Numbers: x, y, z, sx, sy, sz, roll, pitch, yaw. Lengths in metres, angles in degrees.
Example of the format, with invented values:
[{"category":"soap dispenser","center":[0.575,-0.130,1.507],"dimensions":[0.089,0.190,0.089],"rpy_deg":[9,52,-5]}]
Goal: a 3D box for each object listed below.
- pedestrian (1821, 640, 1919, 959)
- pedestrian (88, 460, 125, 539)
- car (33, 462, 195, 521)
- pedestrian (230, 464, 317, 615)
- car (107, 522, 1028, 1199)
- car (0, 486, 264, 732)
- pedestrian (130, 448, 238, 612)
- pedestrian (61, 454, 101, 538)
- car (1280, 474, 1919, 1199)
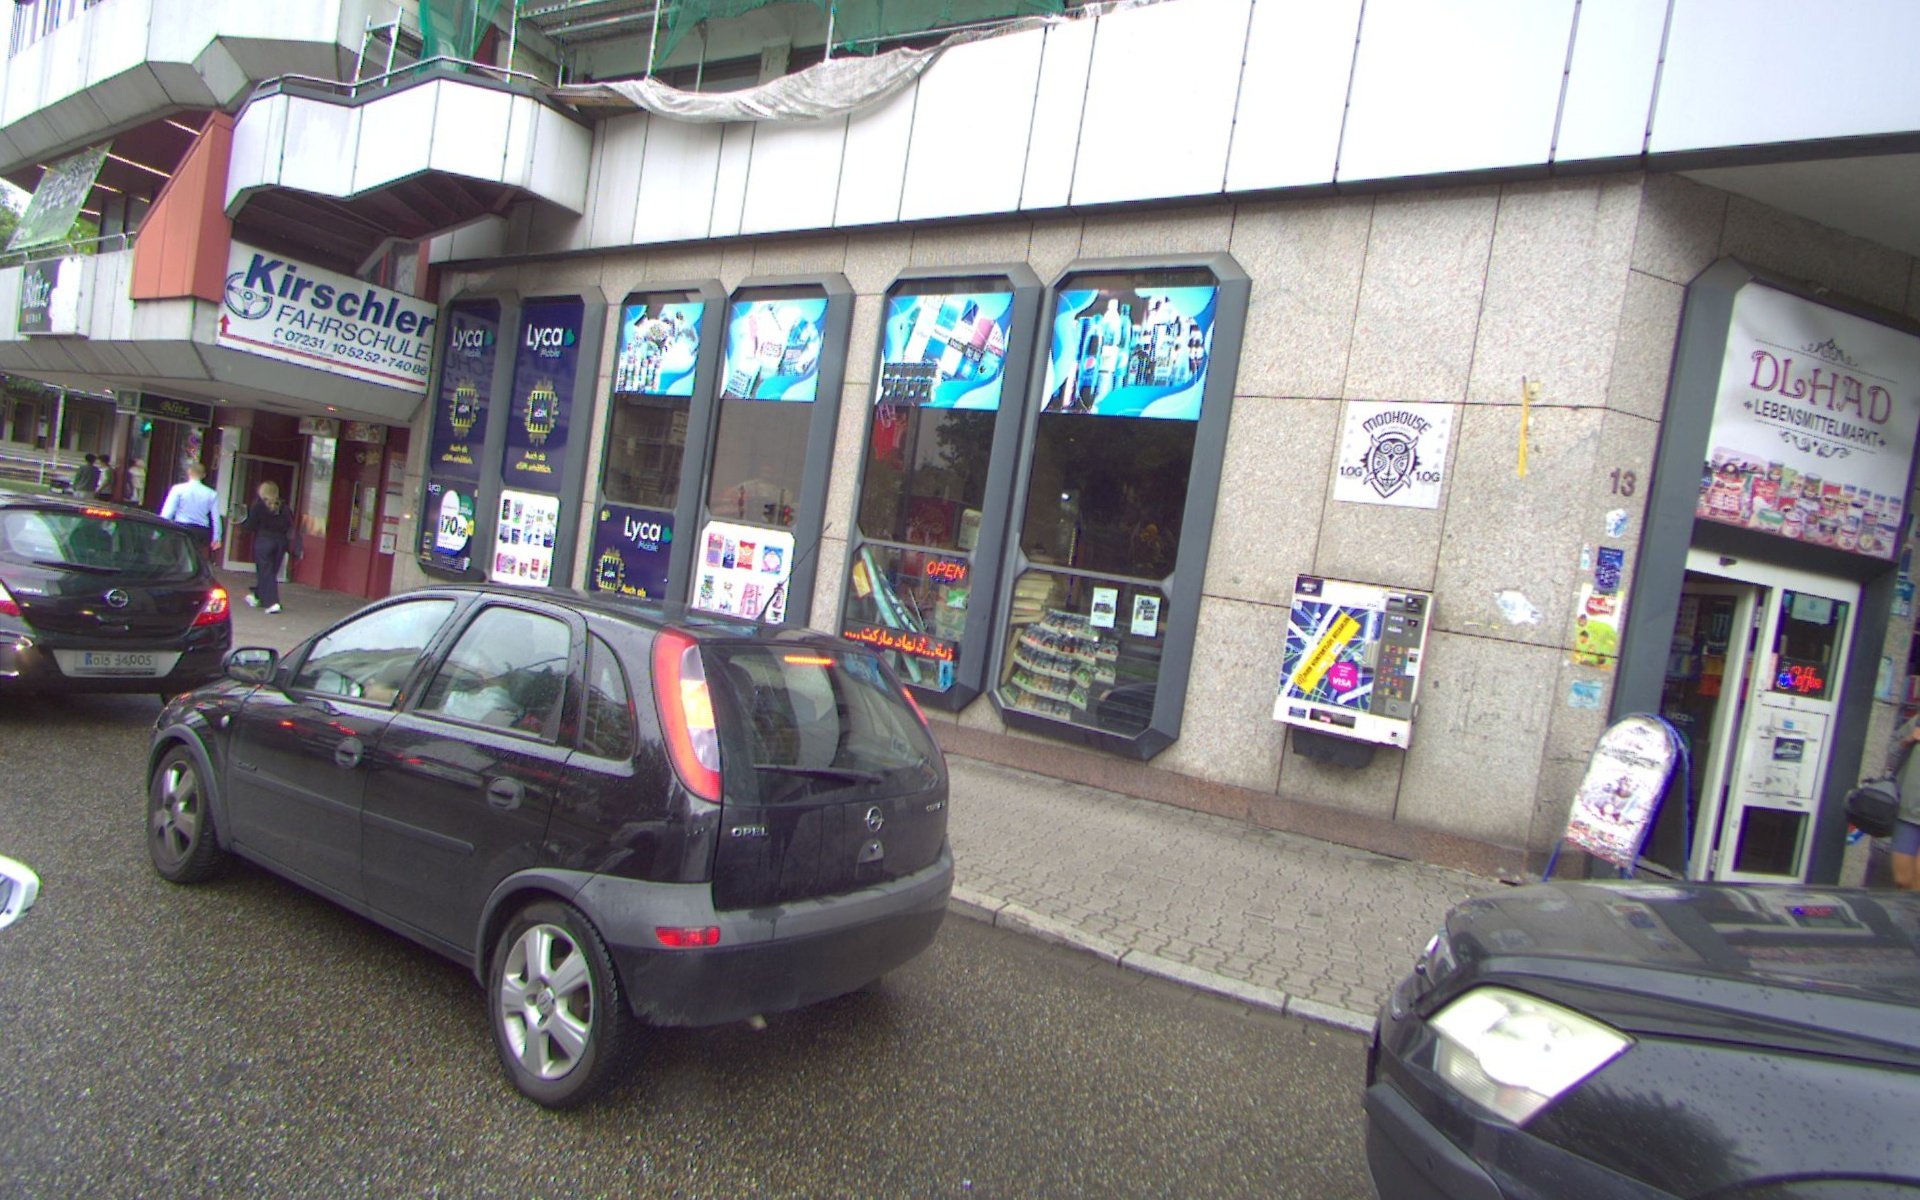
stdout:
[{"category":"pedestrian","center":[5.914,1.201,6.211],"dimensions":[0.733,1.841,0.769],"rpy_deg":[7,4,40]},{"category":"pedestrian","center":[-18.676,-2.199,22.003],"dimensions":[0.496,1.660,0.396],"rpy_deg":[6,1,32]},{"category":"car","center":[-27.814,-3.555,33.172],"dimensions":[1.808,1.226,3.690],"rpy_deg":[5,-3,36]},{"category":"pedestrian","center":[-9.246,-0.796,13.558],"dimensions":[0.629,1.961,0.736],"rpy_deg":[6,4,31]},{"category":"car","center":[-1.744,0.649,4.121],"dimensions":[3.563,1.446,1.609],"rpy_deg":[8,-1,33]},{"category":"car","center":[-7.066,-0.106,7.367],"dimensions":[3.776,1.446,1.620],"rpy_deg":[8,-1,29]},{"category":"pedestrian","center":[-9.889,-0.885,12.825],"dimensions":[0.629,1.957,0.737],"rpy_deg":[6,-1,31]},{"category":"pedestrian","center":[-18.633,-2.202,21.322],"dimensions":[0.443,1.704,0.426],"rpy_deg":[6,1,30]},{"category":"car","center":[2.787,0.980,1.441],"dimensions":[4.094,1.786,1.763],"rpy_deg":[8,-1,32]}]
